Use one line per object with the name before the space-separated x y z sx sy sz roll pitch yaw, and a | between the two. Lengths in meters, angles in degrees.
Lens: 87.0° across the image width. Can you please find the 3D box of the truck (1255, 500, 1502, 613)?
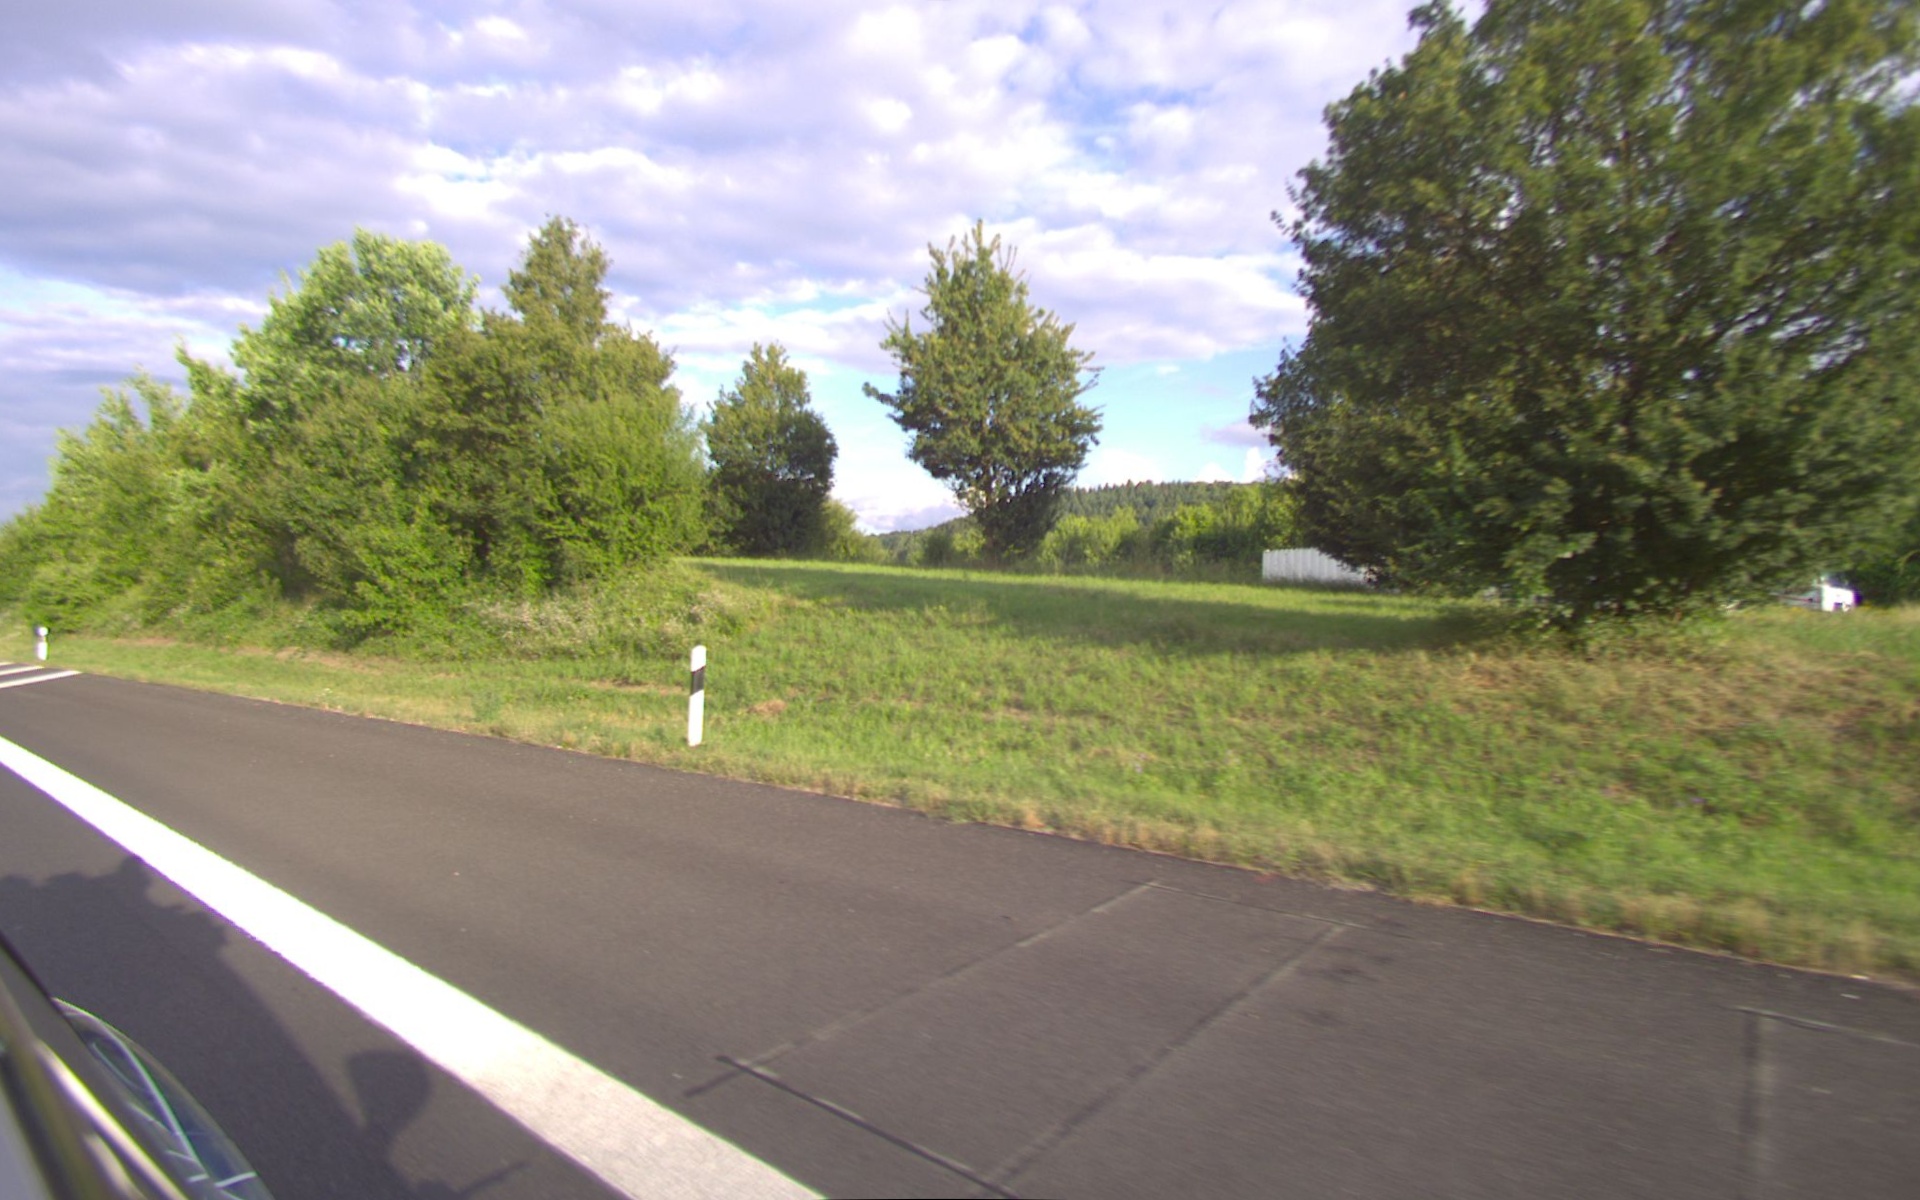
truck | 16.002 -1.456 39.541 2.731 3.935 8.903 1 -1 -34

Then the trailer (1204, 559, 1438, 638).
trailer | 19.472 -0.015 56.040 2.904 3.917 13.008 0 -1 -34

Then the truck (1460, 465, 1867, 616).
truck | 21.331 -1.522 31.690 2.731 3.977 10.180 1 -1 -34
